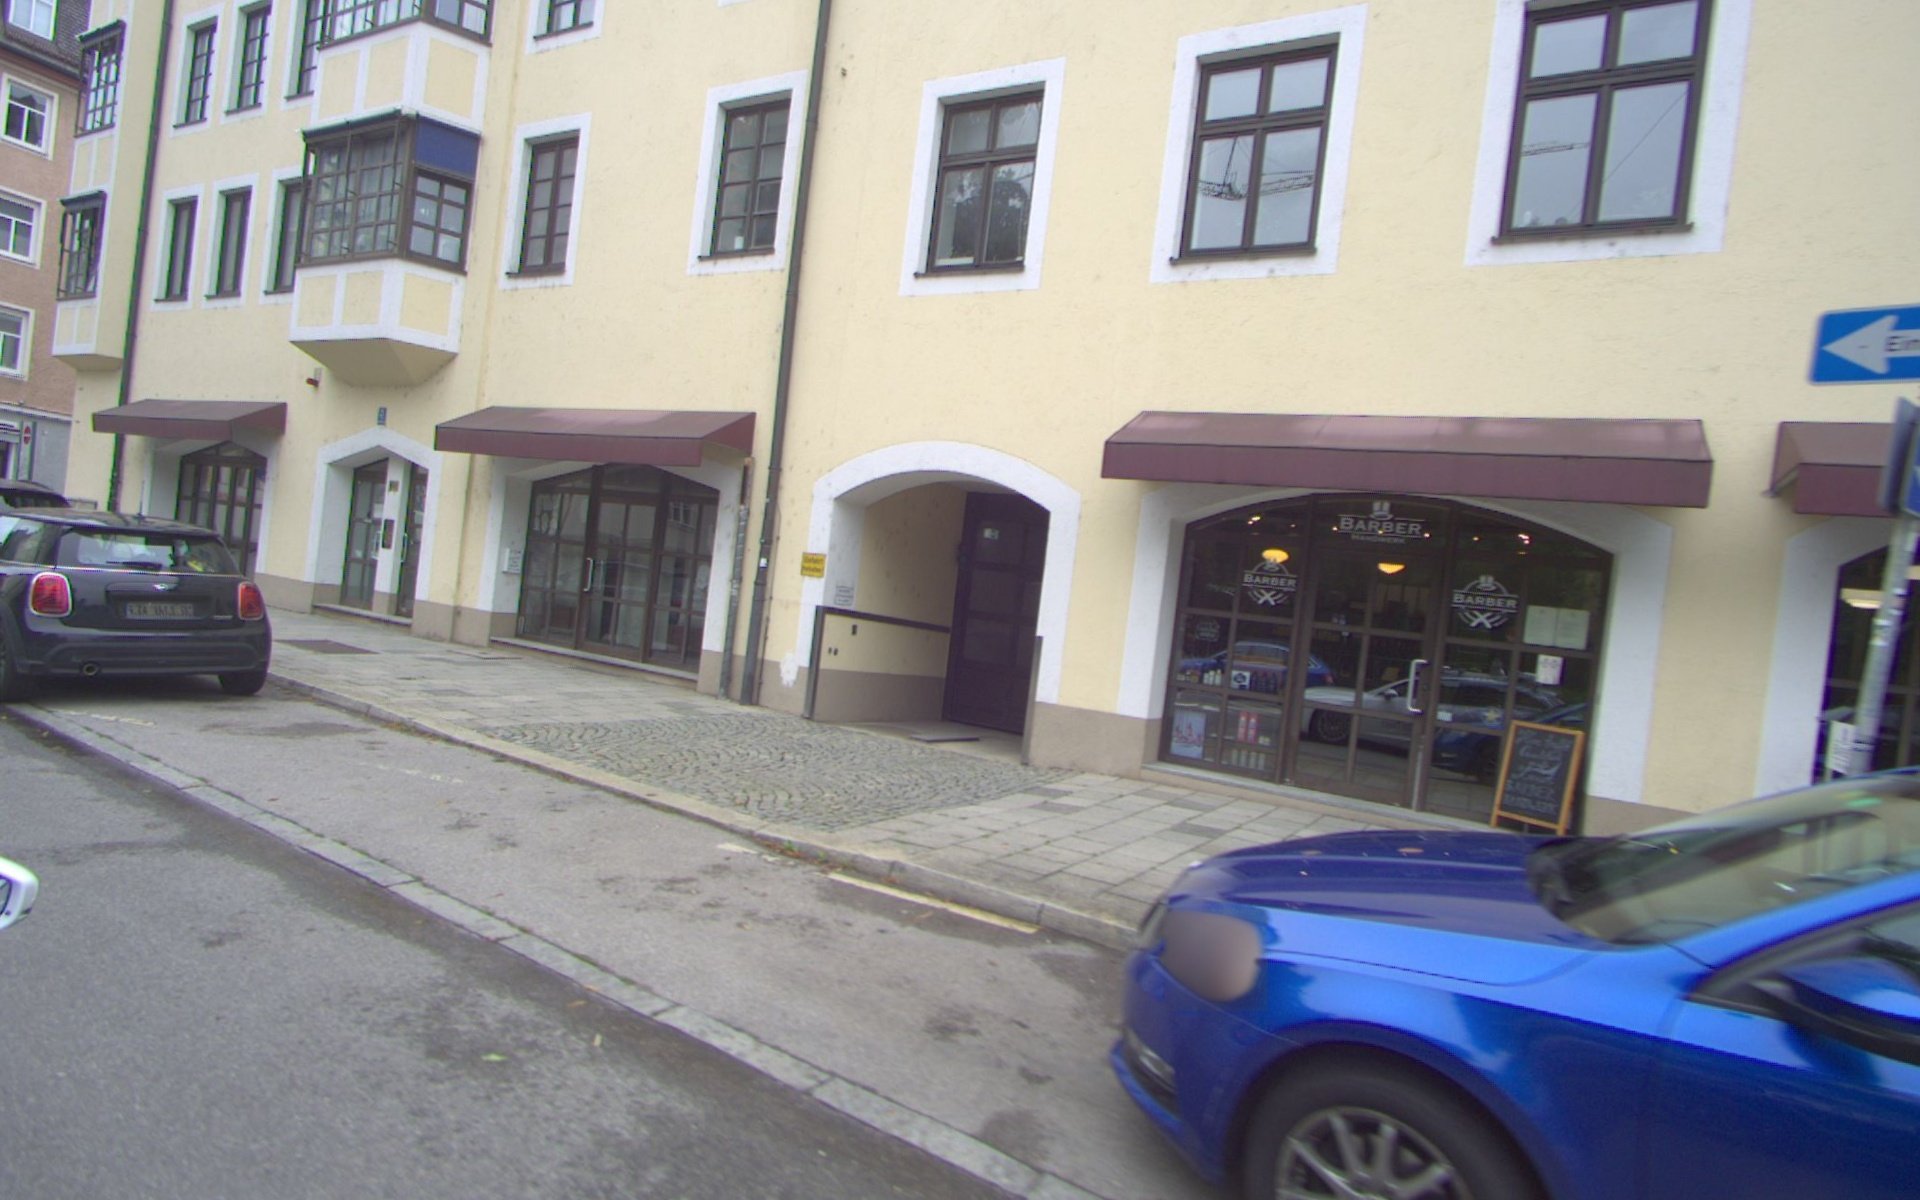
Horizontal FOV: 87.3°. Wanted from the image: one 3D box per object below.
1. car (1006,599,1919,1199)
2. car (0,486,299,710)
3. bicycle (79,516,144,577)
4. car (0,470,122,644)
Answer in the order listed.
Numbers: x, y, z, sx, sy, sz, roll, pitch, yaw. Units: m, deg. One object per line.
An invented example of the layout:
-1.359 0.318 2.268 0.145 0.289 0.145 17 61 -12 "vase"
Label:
2.506 1.017 2.184 4.414 1.515 1.757 7 1 33 "car"
-7.557 -0.135 8.705 3.762 1.515 1.756 7 1 35 "car"
-15.913 -1.014 18.854 1.656 0.989 0.271 7 0 29 "bicycle"
-11.381 -0.655 11.197 4.629 1.701 1.757 7 2 32 "car"
